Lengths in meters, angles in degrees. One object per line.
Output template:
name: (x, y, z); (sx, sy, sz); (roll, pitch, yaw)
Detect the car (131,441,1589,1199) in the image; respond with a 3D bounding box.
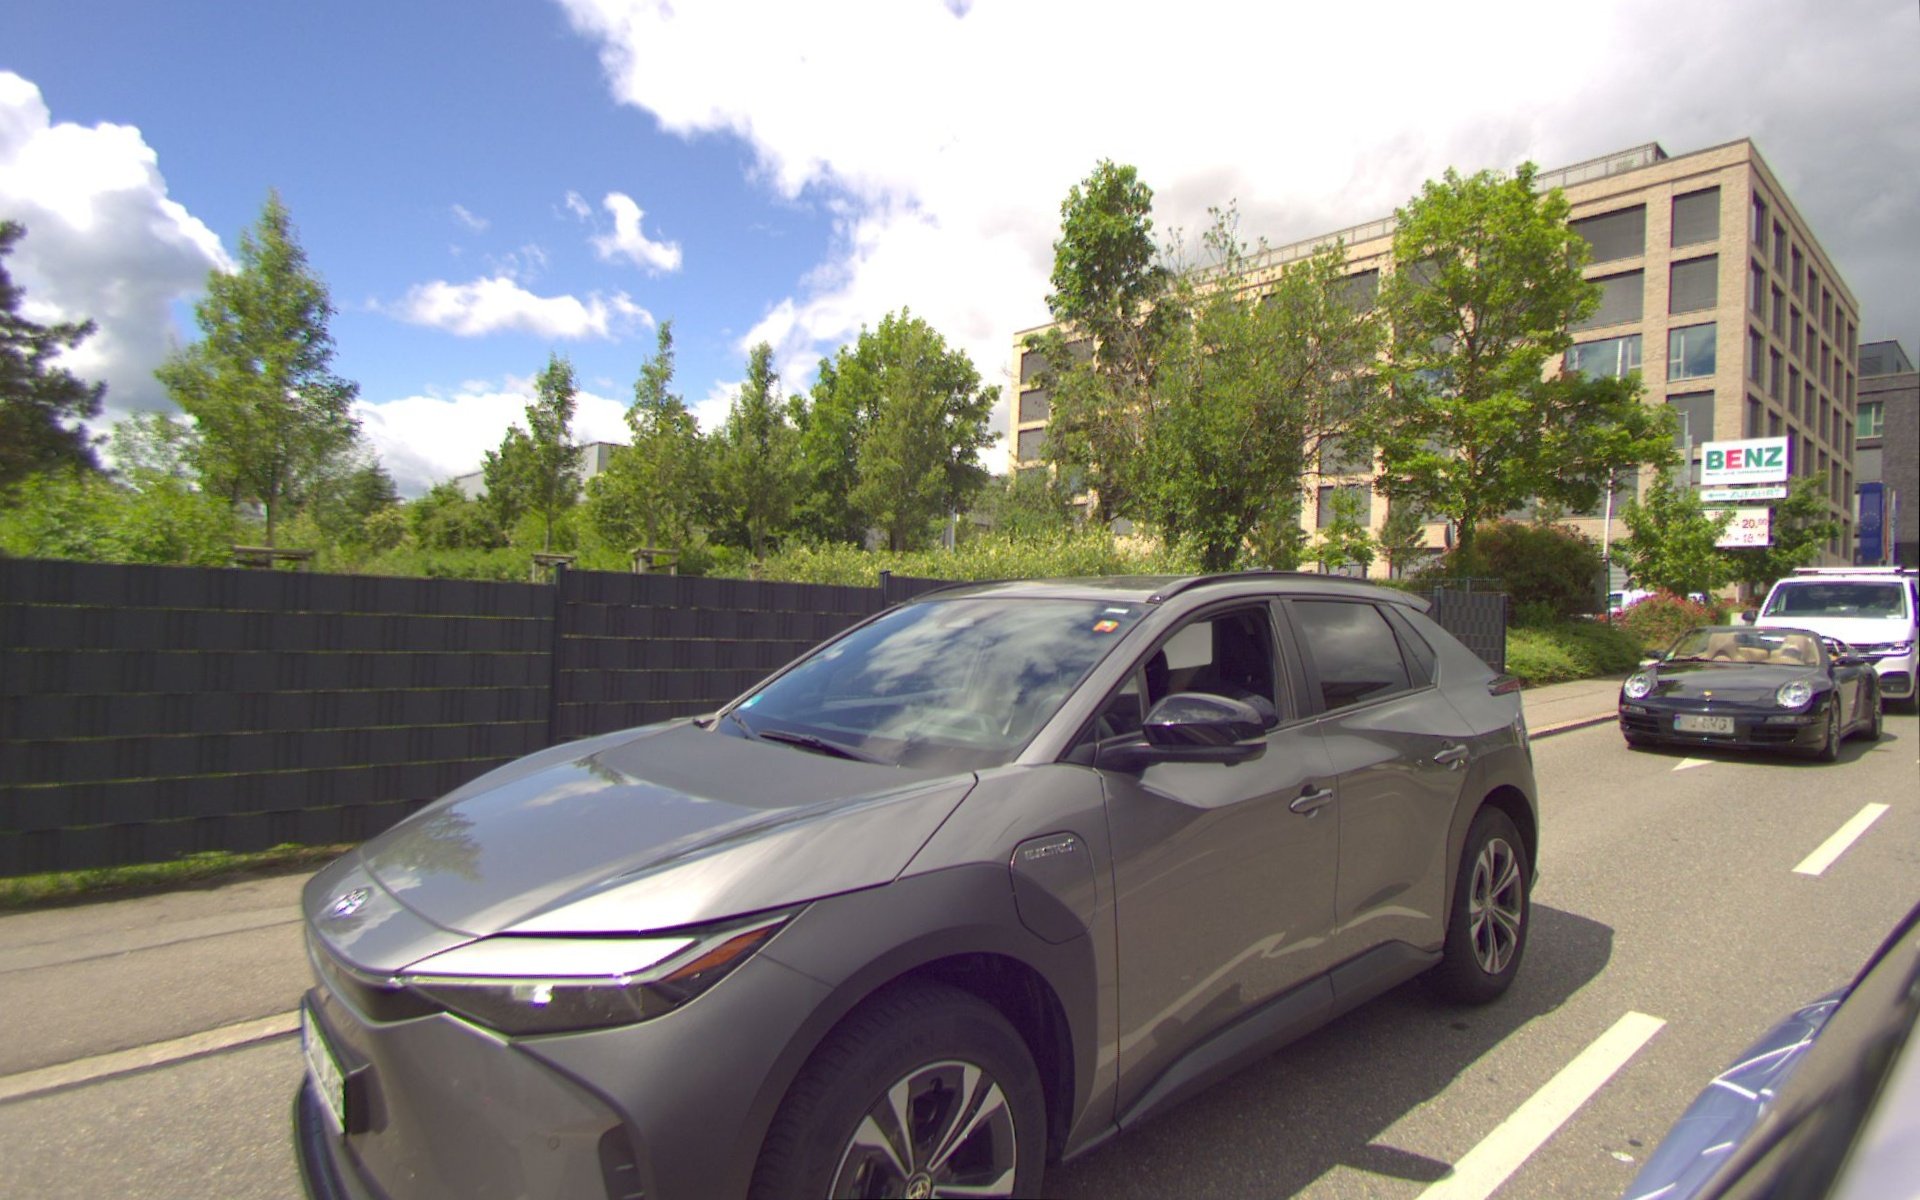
car: (0.228, 0.653, 3.389); (4.601, 1.634, 1.922); (0, -1, -41)

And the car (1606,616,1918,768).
car: (8.793, 0.832, 10.956); (4.487, 1.290, 1.776); (0, -1, -40)

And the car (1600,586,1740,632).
car: (27.466, 0.296, 39.231); (1.707, 1.596, 4.211); (1, 1, -44)

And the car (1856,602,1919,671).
car: (20.510, 0.725, 21.230); (4.485, 1.290, 1.778); (0, 1, -38)

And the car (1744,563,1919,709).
car: (13.497, 0.479, 15.112); (4.563, 1.874, 1.962); (0, -1, -41)

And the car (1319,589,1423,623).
car: (19.383, 0.243, 47.832); (1.705, 1.436, 4.215); (1, 1, -41)
